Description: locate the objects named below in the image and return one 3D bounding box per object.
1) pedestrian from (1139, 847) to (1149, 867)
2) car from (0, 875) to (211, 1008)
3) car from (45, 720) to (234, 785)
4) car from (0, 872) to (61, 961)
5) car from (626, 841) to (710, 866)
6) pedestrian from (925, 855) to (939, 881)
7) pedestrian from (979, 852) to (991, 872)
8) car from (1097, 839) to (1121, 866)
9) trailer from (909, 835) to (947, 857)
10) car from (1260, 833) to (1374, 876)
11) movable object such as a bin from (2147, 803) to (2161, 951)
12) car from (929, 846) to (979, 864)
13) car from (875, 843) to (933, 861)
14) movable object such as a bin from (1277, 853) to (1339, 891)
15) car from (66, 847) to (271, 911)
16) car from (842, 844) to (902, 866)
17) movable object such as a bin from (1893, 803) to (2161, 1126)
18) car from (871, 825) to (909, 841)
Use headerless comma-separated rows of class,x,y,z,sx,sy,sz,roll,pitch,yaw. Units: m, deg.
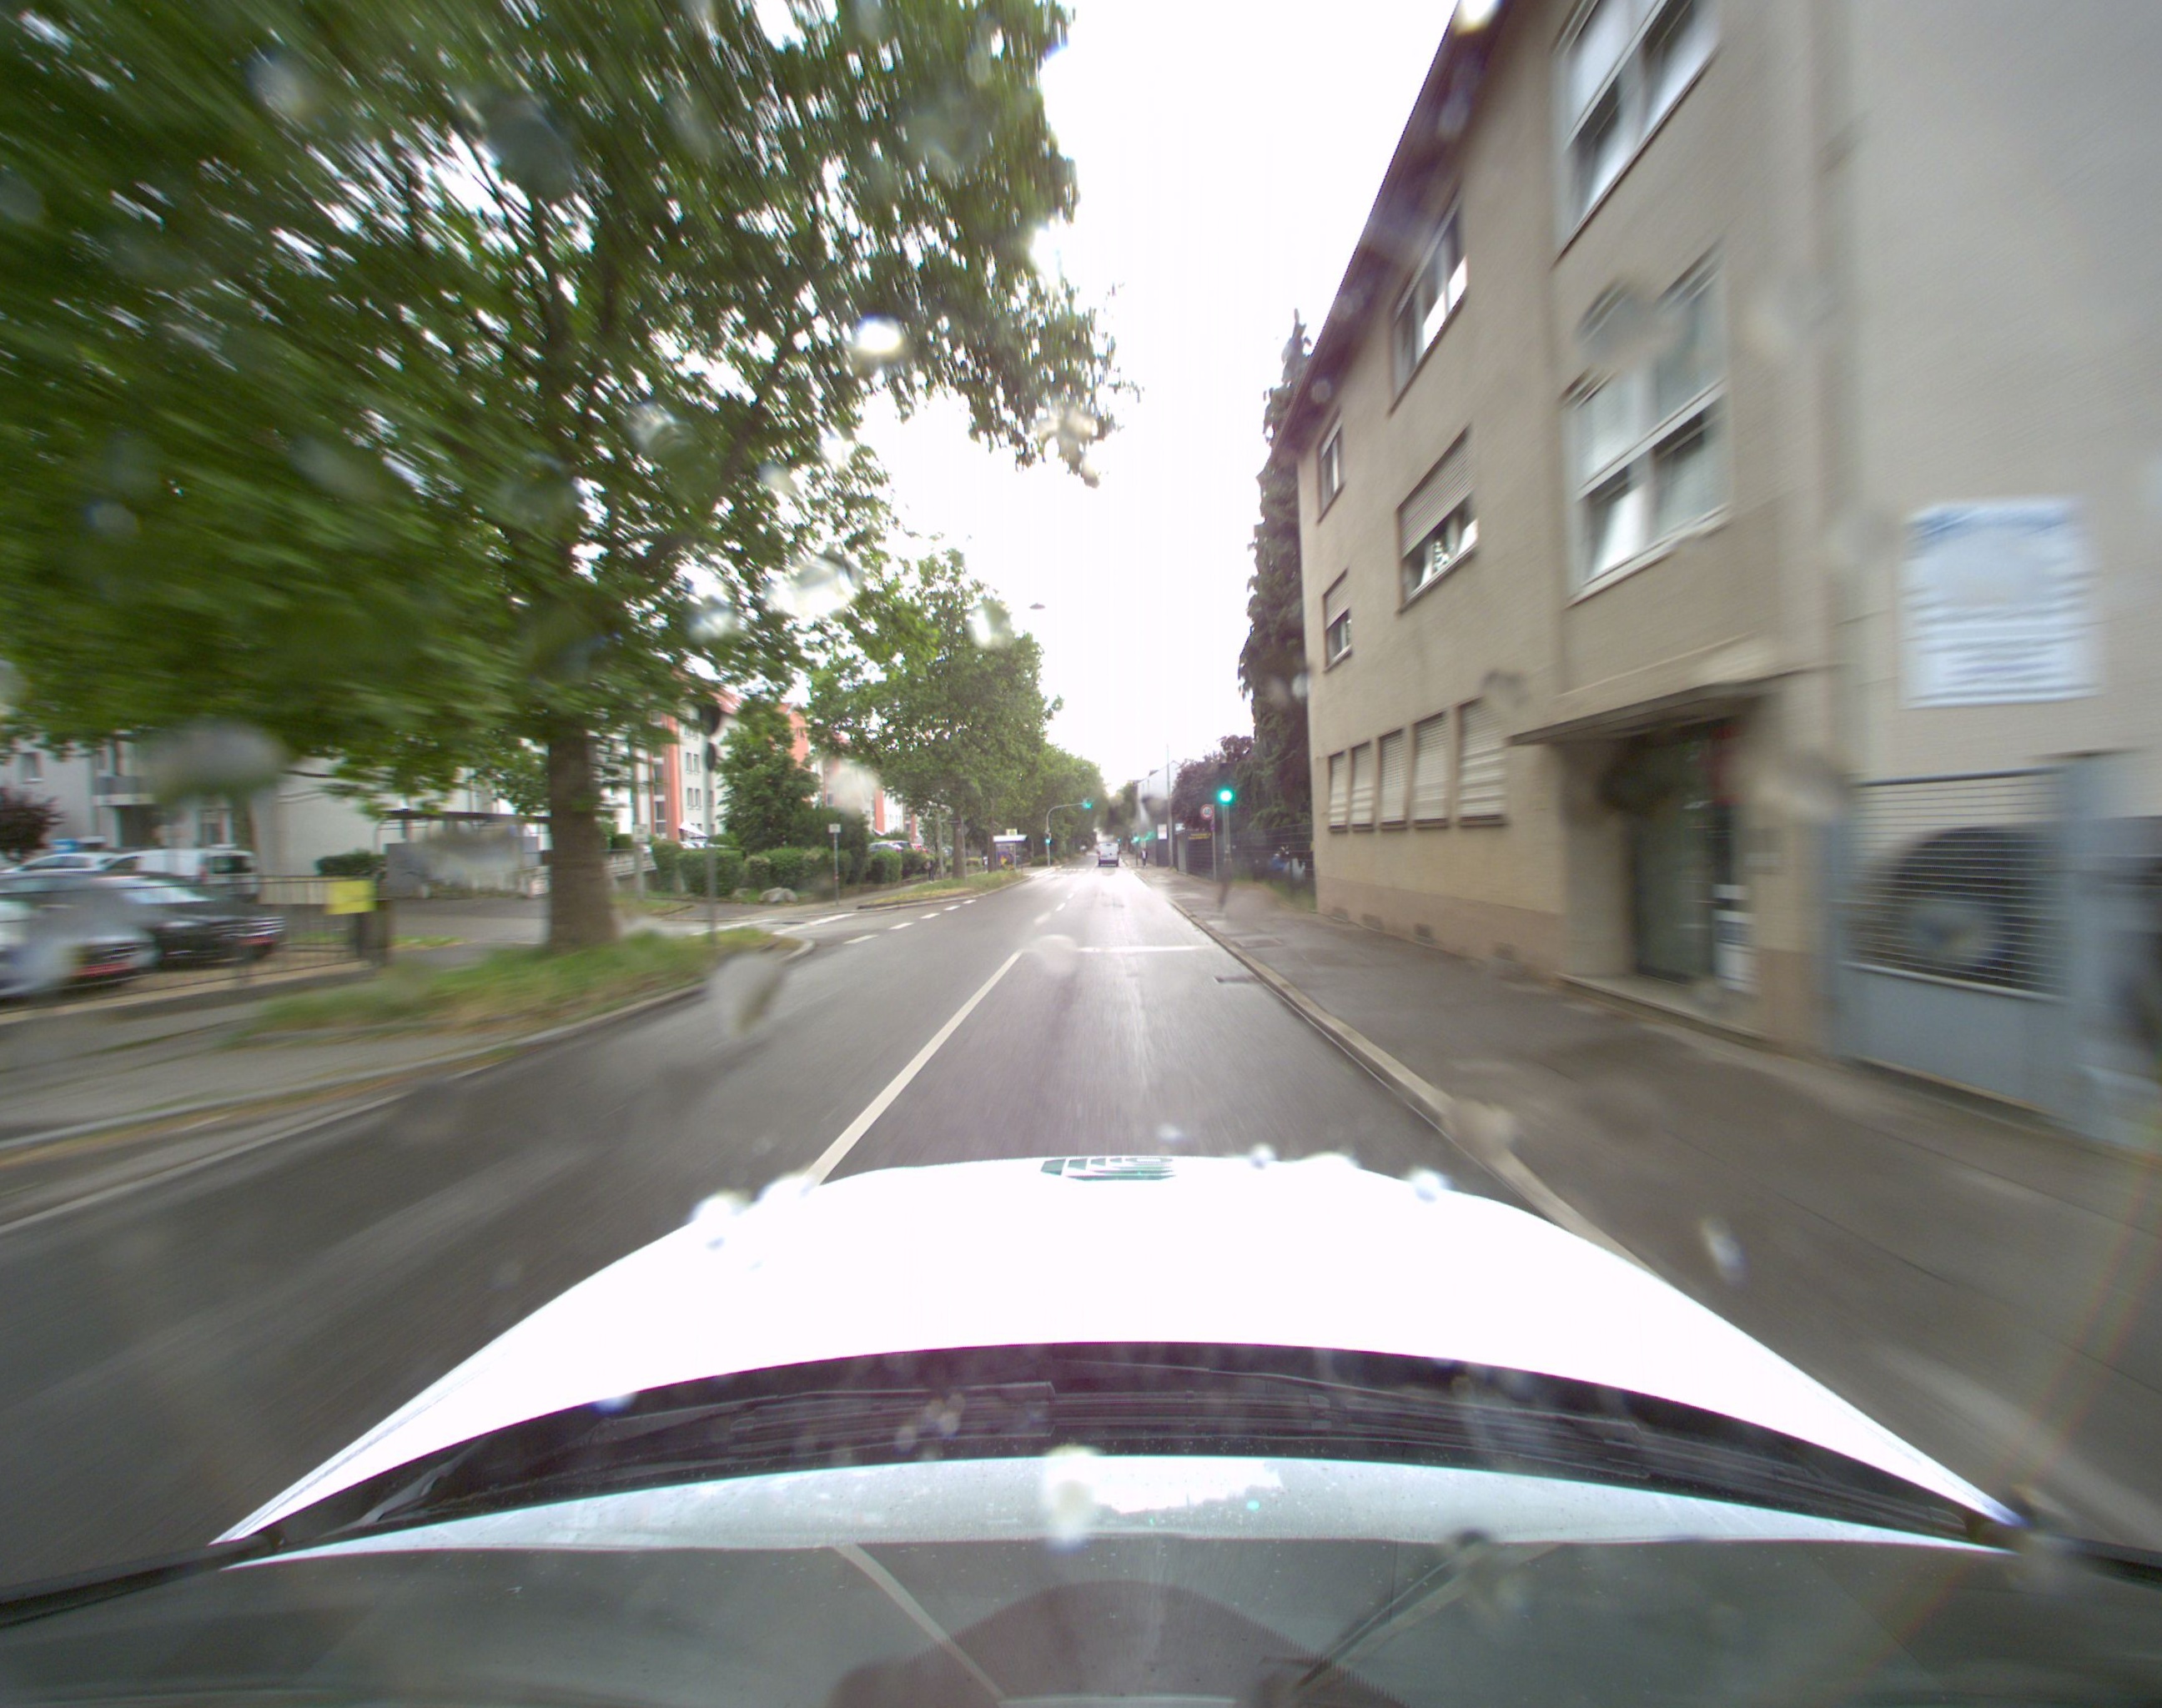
pedestrian,5.438,0.284,70.465,0.741,1.704,0.900,0,-1,-4
car,-14.577,1.064,10.649,4.193,1.539,1.982,0,-1,0
car,-31.487,-3.383,27.325,3.972,1.779,1.879,1,-5,1
car,-20.301,1.085,13.514,4.153,1.497,2.000,-1,-1,0
car,-24.216,-0.032,47.830,3.969,1.415,1.850,0,-1,4
pedestrian,-9.191,0.879,50.257,0.753,1.611,0.834,0,-1,-3
pedestrian,-7.997,0.658,68.086,0.738,1.598,0.607,-5,-2,5
car,2.774,-0.112,81.305,2.274,2.553,4.002,-2,-1,2
trailer,-12.276,-0.635,65.522,2.693,1.645,1.481,-1,0,2
car,12.475,0.028,43.279,5.549,2.211,2.000,0,0,0
movable object such as a bin,6.986,0.404,4.261,1.229,1.509,1.111,-4,-1,1
car,-12.303,0.110,79.162,4.529,1.672,2.000,0,-1,0
car,-13.759,-0.131,63.418,4.073,1.303,1.810,0,-1,1
movable object such as a bin,8.298,0.617,29.985,1.367,1.320,2.857,0,0,-3
car,-27.194,0.734,24.378,3.972,1.779,1.880,1,-1,1
car,-14.373,0.069,56.157,3.643,1.498,1.896,0,-1,-2
movable object such as a bin,5.460,0.508,4.371,1.106,1.509,0.987,-4,-1,1
car,-19.708,-2.164,84.083,3.813,1.602,1.711,0,-1,-13
